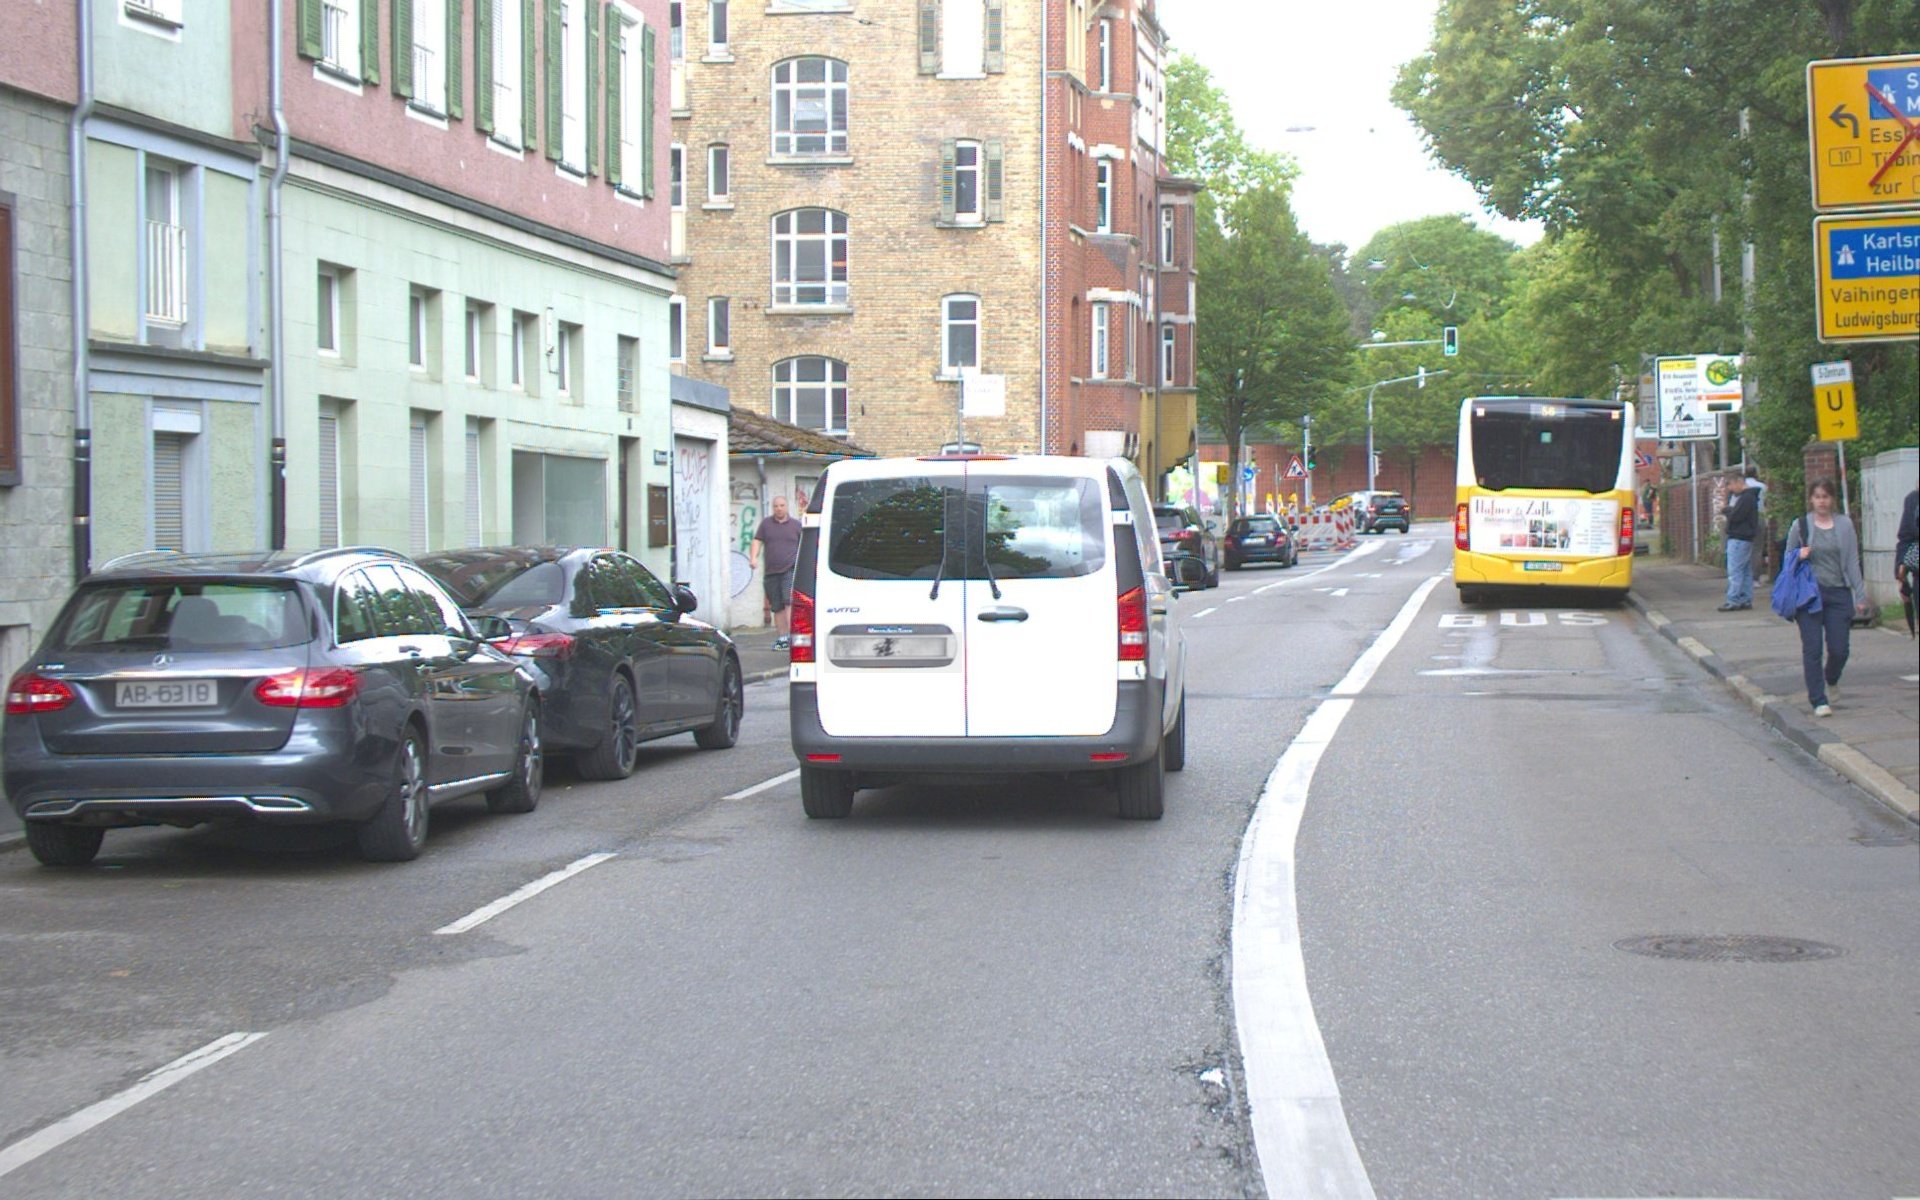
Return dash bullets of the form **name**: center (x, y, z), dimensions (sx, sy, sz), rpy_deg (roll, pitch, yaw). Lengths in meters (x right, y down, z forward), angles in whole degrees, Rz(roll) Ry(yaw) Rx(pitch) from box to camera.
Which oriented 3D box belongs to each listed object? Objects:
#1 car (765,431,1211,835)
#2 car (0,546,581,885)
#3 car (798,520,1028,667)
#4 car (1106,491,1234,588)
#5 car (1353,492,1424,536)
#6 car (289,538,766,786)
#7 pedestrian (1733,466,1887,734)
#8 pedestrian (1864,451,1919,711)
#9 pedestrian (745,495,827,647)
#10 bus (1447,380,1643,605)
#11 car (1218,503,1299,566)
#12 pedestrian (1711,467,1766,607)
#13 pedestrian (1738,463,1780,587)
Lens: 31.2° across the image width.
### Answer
- **car**: center (0.300, 0.159, 19.072), dimensions (1.918, 1.895, 4.700), rpy_deg (2, 0, 7)
- **car**: center (-3.241, 0.466, 17.059), dimensions (1.829, 1.450, 4.584), rpy_deg (-1, 1, 5)
- **car**: center (-0.466, -0.119, 38.761), dimensions (1.879, 1.481, 4.126), rpy_deg (1, 2, 9)
- **car**: center (4.037, -1.184, 65.417), dimensions (1.954, 1.728, 4.772), rpy_deg (0, 2, 9)
- **car**: center (15.813, -3.198, 127.080), dimensions (2.036, 1.480, 4.391), rpy_deg (0, 3, 0)
- **car**: center (-2.688, 0.329, 22.628), dimensions (1.829, 1.450, 4.919), rpy_deg (0, 1, 9)
- **pedestrian**: center (5.910, -0.015, 23.951), dimensions (0.803, 1.787, 0.942), rpy_deg (-3, 2, 3)
- **pedestrian**: center (6.761, -0.155, 23.881), dimensions (0.687, 1.751, 0.878), rpy_deg (-3, 2, 3)
- **pedestrian**: center (-2.042, -0.344, 40.454), dimensions (0.761, 1.738, 0.984), rpy_deg (2, 1, 7)
- **bus**: center (9.110, -1.675, 53.645), dimensions (2.664, 3.125, 10.037), rpy_deg (2, 2, 9)
- **car**: center (7.964, -1.757, 91.504), dimensions (1.725, 1.480, 4.389), rpy_deg (0, 4, 11)
- **pedestrian**: center (9.968, -0.809, 44.021), dimensions (0.582, 1.772, 0.821), rpy_deg (1, 1, 9)
- **pedestrian**: center (11.599, -1.093, 49.944), dimensions (0.450, 1.773, 0.672), rpy_deg (-3, 1, 9)
